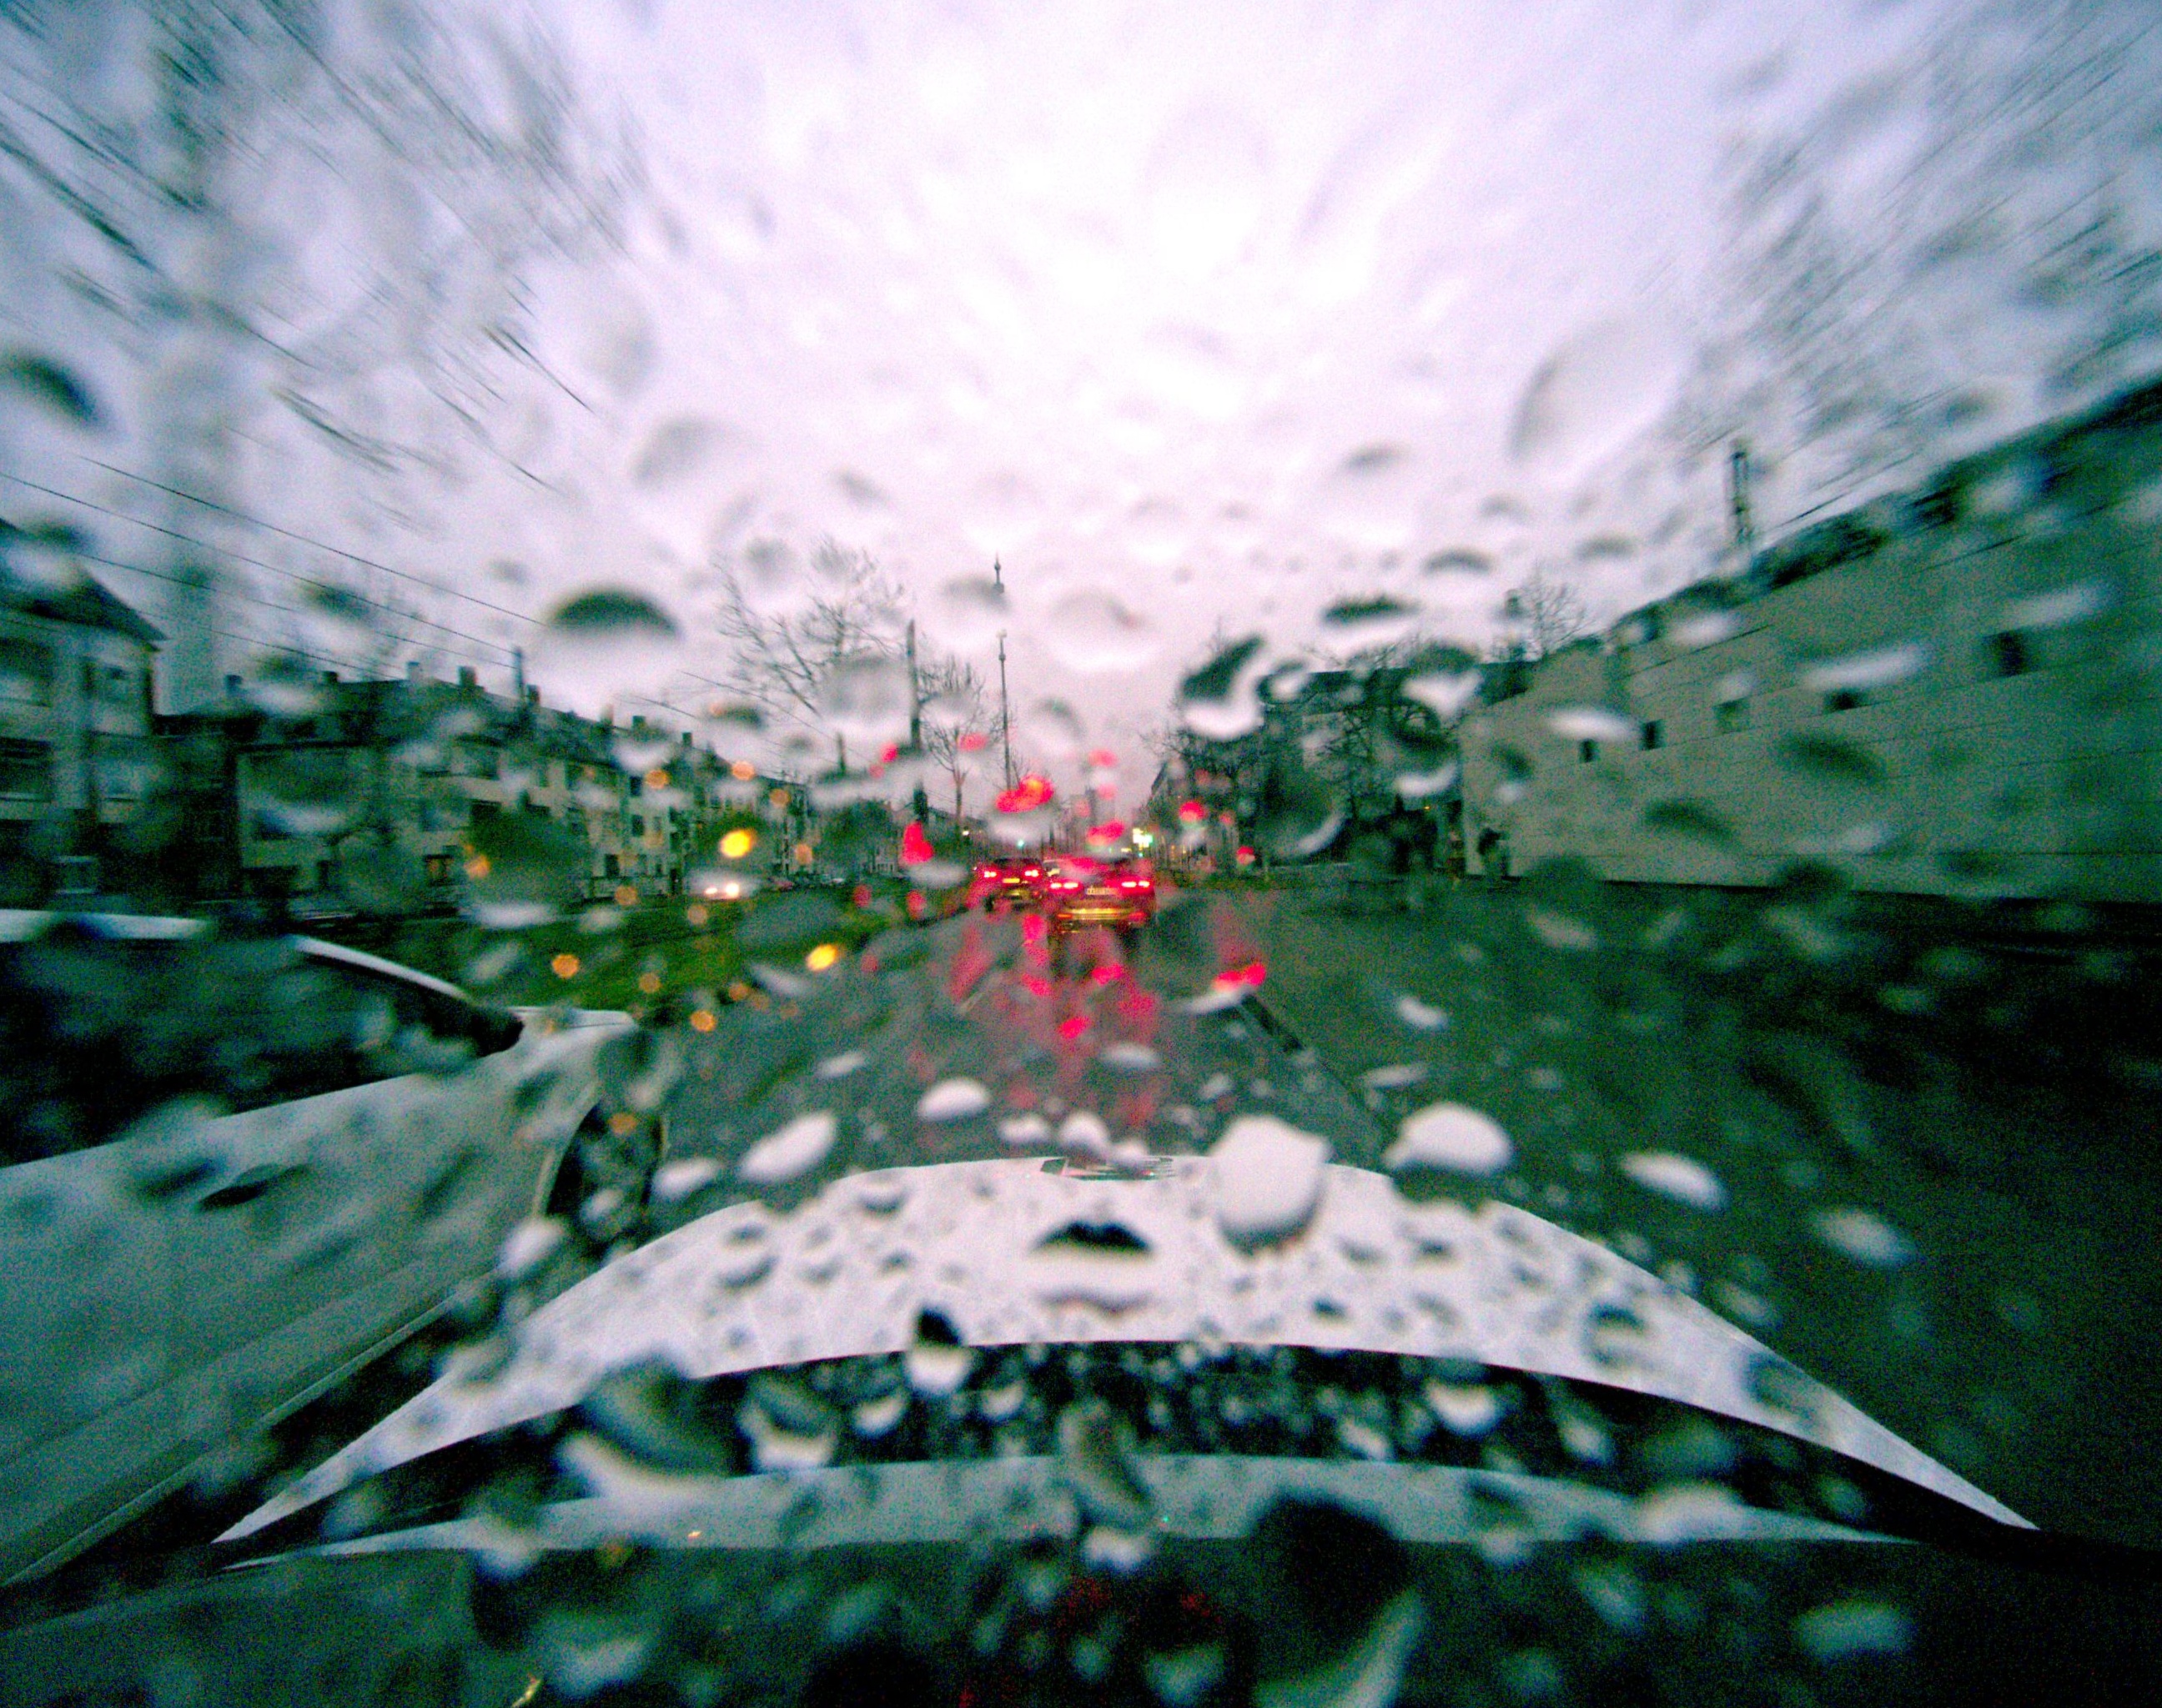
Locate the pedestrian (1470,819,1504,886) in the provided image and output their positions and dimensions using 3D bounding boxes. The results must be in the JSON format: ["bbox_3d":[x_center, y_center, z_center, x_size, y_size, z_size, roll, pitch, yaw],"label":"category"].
[{"bbox_3d":[11.013,-0.032,22.116,0.667,1.778,0.617,-1,-1,15],"label":"pedestrian"}]

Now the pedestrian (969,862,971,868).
[{"bbox_3d":[-23.614,2.290,173.556,0.348,1.184,0.429,-1,-1,-39],"label":"pedestrian"}]

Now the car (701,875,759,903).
[{"bbox_3d":[-20.482,2.024,47.689,1.539,1.504,3.786,-1,0,3],"label":"car"}]

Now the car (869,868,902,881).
[{"bbox_3d":[-23.939,2.491,99.549,4.109,1.541,1.680,-2,-1,38],"label":"car"}]

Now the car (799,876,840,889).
[{"bbox_3d":[-24.445,2.676,76.096,3.772,1.172,1.749,-1,0,34],"label":"car"}]

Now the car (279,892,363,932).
[{"bbox_3d":[-26.963,2.000,28.861,4.053,1.161,1.722,0,-1,41],"label":"car"}]

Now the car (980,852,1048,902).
[{"bbox_3d":[-2.081,0.703,26.330,1.812,1.450,3.999,-1,0,0],"label":"car"}]

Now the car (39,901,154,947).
[{"bbox_3d":[-26.407,1.833,21.836,2.881,0.989,1.806,0,-1,37],"label":"car"}]

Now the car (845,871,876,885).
[{"bbox_3d":[-24.403,2.636,89.915,3.342,1.422,1.680,-2,-1,40],"label":"car"}]

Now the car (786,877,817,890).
[{"bbox_3d":[-25.136,2.618,73.215,2.361,1.048,1.446,-1,0,34],"label":"car"}]

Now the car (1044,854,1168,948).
[{"bbox_3d":[0.464,0.793,15.163,1.986,1.483,3.701,-1,-1,2],"label":"car"}]

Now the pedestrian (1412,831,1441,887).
[{"bbox_3d":[10.109,0.148,23.840,0.667,1.625,0.617,-1,-1,17],"label":"pedestrian"}]

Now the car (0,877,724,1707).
[{"bbox_3d":[-2.643,0.851,1.955,1.682,1.474,4.002,-1,0,2],"label":"car"}]

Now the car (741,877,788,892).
[{"bbox_3d":[-25.106,2.412,64.548,3.525,1.141,1.748,-1,0,34],"label":"car"}]

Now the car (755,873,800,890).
[{"bbox_3d":[-25.021,2.223,67.110,3.534,1.309,1.697,-1,0,34],"label":"car"}]

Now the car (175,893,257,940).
[{"bbox_3d":[-26.967,1.893,25.348,3.992,1.230,1.357,0,-1,38],"label":"car"}]

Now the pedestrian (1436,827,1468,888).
[{"bbox_3d":[10.161,0.096,22.304,0.667,1.612,0.617,-1,-1,15],"label":"pedestrian"}]

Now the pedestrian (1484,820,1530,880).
[{"bbox_3d":[12.215,-0.092,23.385,0.665,1.655,0.993,-4,-1,-3],"label":"pedestrian"}]

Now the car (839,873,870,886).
[{"bbox_3d":[-24.168,2.693,86.944,2.899,1.336,1.749,-1,0,34],"label":"car"}]

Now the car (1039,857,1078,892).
[{"bbox_3d":[-1.088,0.985,40.868,1.683,1.635,3.475,-1,-1,2],"label":"car"}]

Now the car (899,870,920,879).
[{"bbox_3d":[-23.742,2.807,112.835,2.851,1.204,1.397,-2,-1,43],"label":"car"}]

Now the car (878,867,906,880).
[{"bbox_3d":[-24.423,2.545,105.263,3.800,1.588,1.753,-2,-1,43],"label":"car"}]

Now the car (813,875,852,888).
[{"bbox_3d":[-24.356,2.672,79.816,3.794,1.245,1.749,-1,0,37],"label":"car"}]
